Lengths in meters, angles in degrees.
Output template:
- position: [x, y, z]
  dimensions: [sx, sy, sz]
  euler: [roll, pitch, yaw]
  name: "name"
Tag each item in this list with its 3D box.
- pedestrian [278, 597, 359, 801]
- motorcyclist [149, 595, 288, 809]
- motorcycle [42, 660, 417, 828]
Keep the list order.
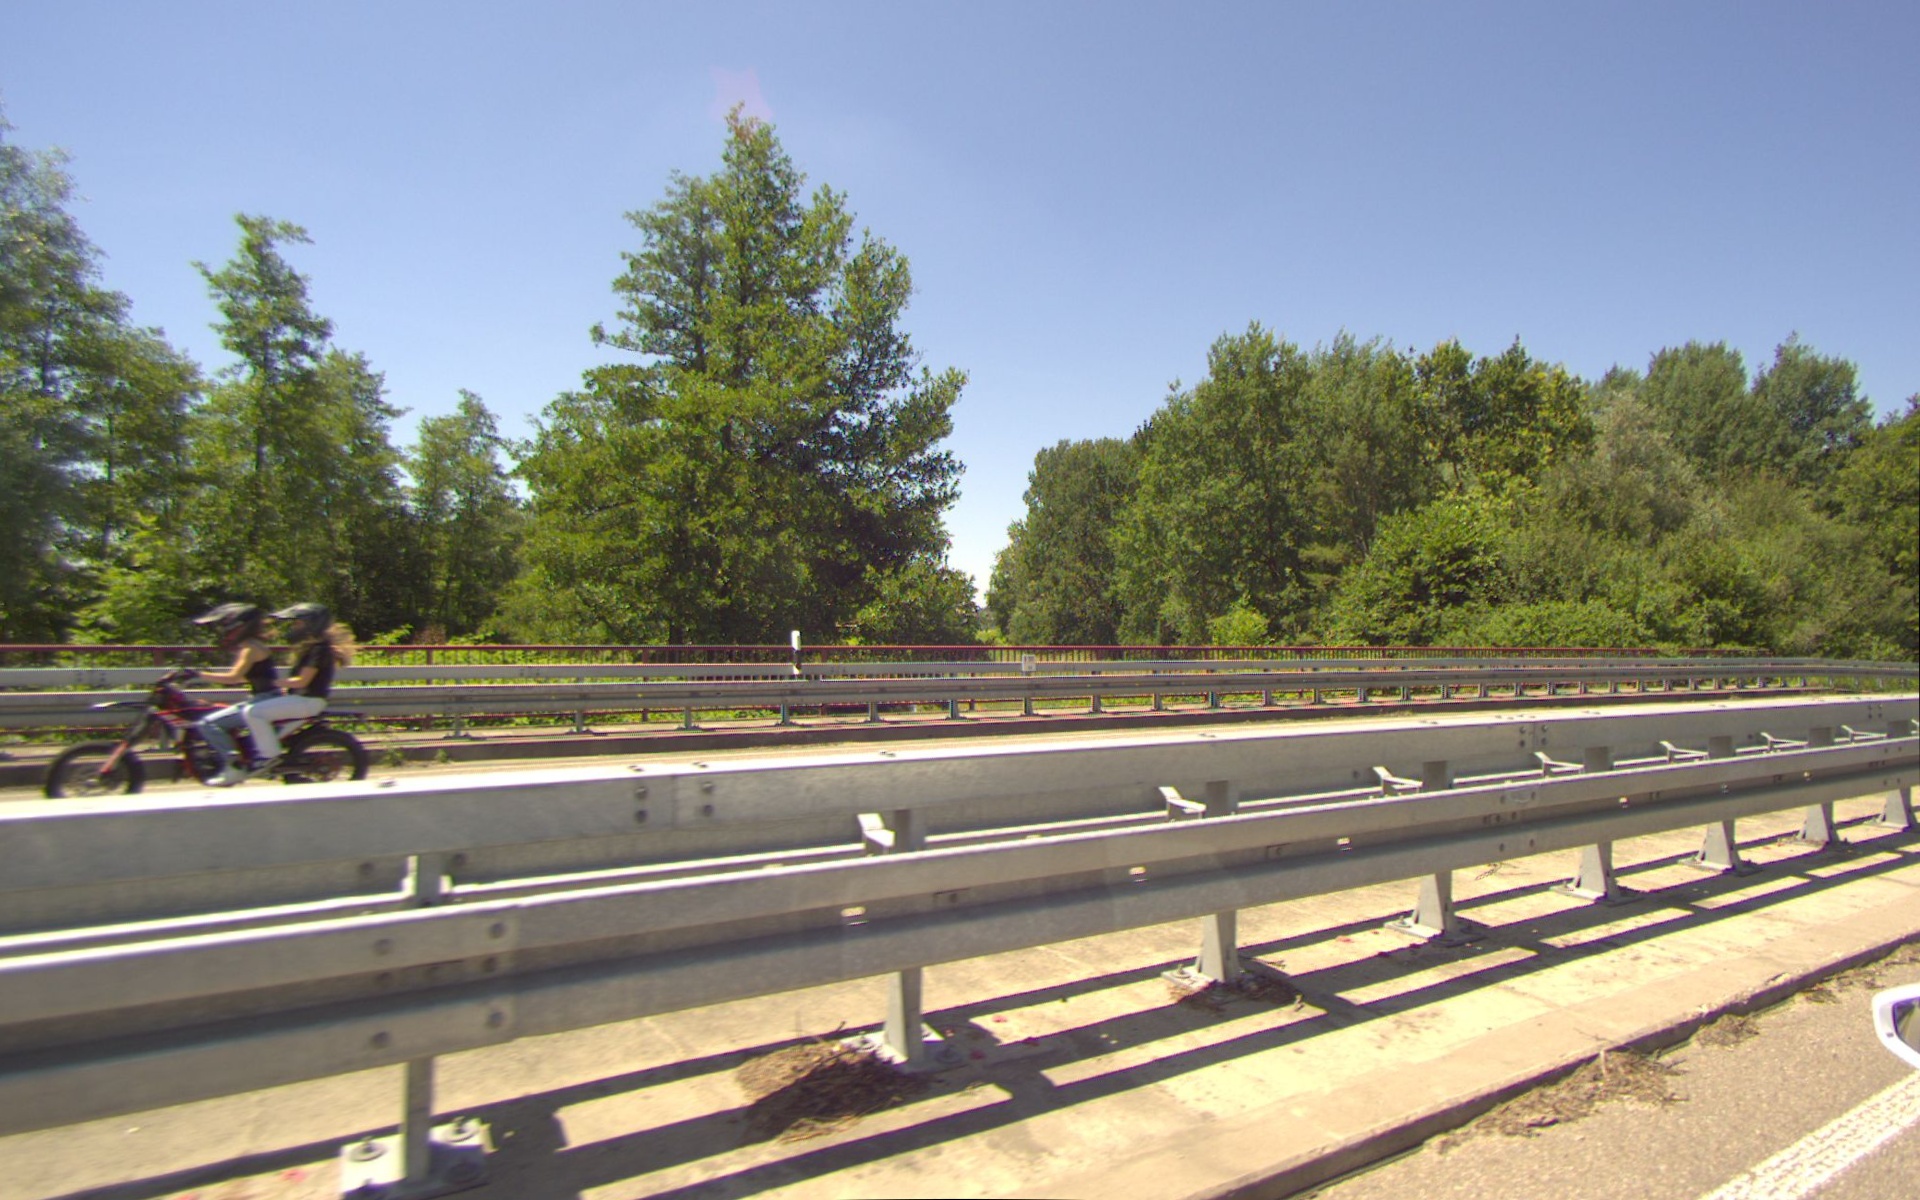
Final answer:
- position: [-5.150, 0.768, 8.086]
  dimensions: [0.488, 1.561, 0.612]
  euler: [1, -1, -30]
  name: "pedestrian"
- position: [-5.699, 0.752, 7.763]
  dimensions: [0.767, 1.561, 0.612]
  euler: [1, -1, -30]
  name: "motorcyclist"
- position: [-5.557, 1.055, 7.853]
  dimensions: [2.286, 1.119, 0.612]
  euler: [1, -1, -30]
  name: "motorcycle"
